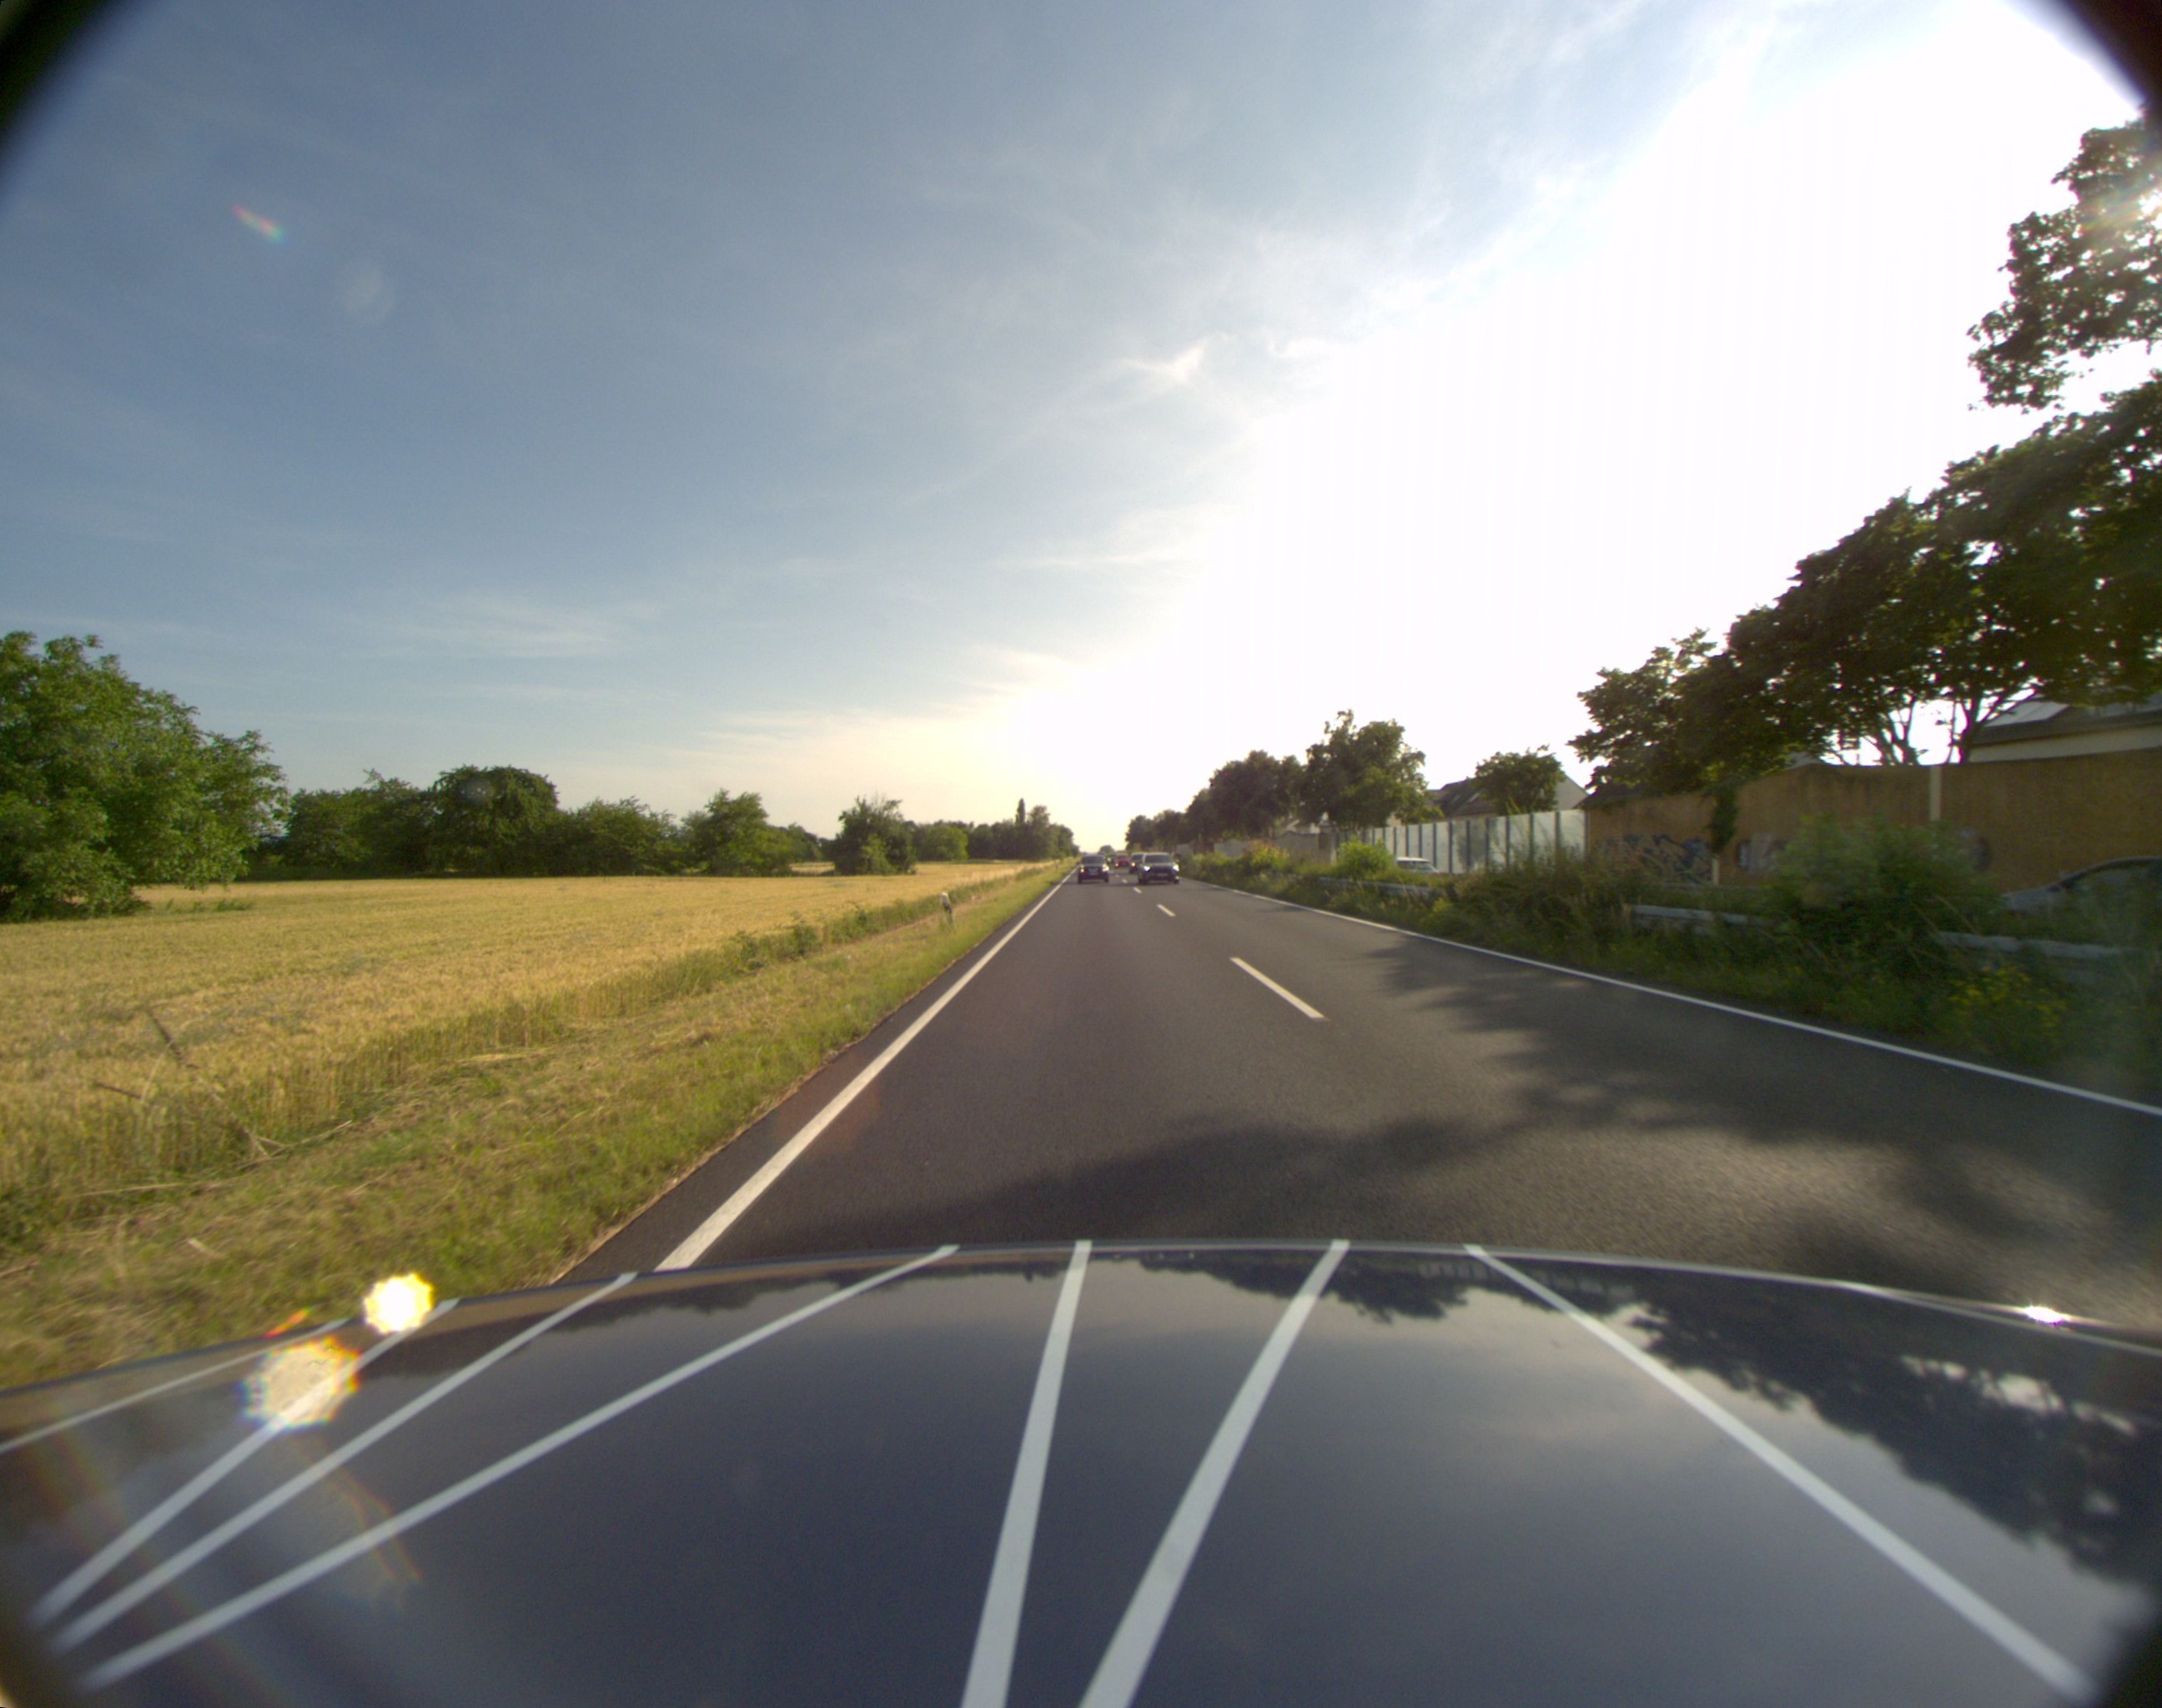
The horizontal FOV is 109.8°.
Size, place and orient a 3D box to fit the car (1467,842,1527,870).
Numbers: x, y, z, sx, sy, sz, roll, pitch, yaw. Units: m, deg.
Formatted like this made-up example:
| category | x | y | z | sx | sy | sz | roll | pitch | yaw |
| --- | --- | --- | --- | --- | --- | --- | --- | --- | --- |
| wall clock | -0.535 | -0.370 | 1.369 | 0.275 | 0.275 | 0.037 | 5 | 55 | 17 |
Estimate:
| category | x | y | z | sx | sy | sz | roll | pitch | yaw |
| --- | --- | --- | --- | --- | --- | --- | --- | --- | --- |
| car | 30.959 | 0.129 | 56.708 | 1.790 | 1.908 | 4.914 | -2 | 1 | 1 |

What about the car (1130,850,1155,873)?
| category | x | y | z | sx | sy | sz | roll | pitch | yaw |
| --- | --- | --- | --- | --- | --- | --- | --- | --- | --- |
| car | 4.984 | 0.553 | 62.028 | 1.822 | 1.724 | 4.000 | -2 | 1 | 2 |

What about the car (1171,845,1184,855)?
| category | x | y | z | sx | sy | sz | roll | pitch | yaw |
| --- | --- | --- | --- | --- | --- | --- | --- | --- | --- |
| car | 17.090 | -0.747 | 134.745 | 1.842 | 1.784 | 4.299 | -2 | 1 | 1 |

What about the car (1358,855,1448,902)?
| category | x | y | z | sx | sy | sz | roll | pitch | yaw |
| --- | --- | --- | --- | --- | --- | --- | --- | --- | --- |
| car | 11.543 | 0.845 | 27.511 | 1.698 | 1.480 | 3.673 | -2 | 1 | 1 |

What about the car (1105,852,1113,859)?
| category | x | y | z | sx | sy | sz | roll | pitch | yaw |
| --- | --- | --- | --- | --- | --- | --- | --- | --- | --- |
| car | 6.263 | 0.262 | 172.835 | 1.693 | 1.397 | 4.000 | -2 | 1 | 1 |

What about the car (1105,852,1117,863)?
| category | x | y | z | sx | sy | sz | roll | pitch | yaw |
| --- | --- | --- | --- | --- | --- | --- | --- | --- | --- |
| car | 4.350 | 0.547 | 110.472 | 1.700 | 1.456 | 3.646 | -2 | 1 | 1 |

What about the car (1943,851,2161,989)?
| category | x | y | z | sx | sy | sz | roll | pitch | yaw |
| --- | --- | --- | --- | --- | --- | --- | --- | --- | --- |
| car | 15.195 | 0.872 | 10.549 | 1.942 | 1.718 | 3.999 | -2 | 1 | 1 |

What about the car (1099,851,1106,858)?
| category | x | y | z | sx | sy | sz | roll | pitch | yaw |
| --- | --- | --- | --- | --- | --- | --- | --- | --- | --- |
| car | 5.529 | 0.058 | 196.922 | 1.854 | 1.641 | 3.999 | -2 | 1 | 1 |

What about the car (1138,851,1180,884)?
| category | x | y | z | sx | sy | sz | roll | pitch | yaw |
| --- | --- | --- | --- | --- | --- | --- | --- | --- | --- |
| car | 4.020 | 0.680 | 39.572 | 1.821 | 1.516 | 4.246 | -2 | 1 | 2 |

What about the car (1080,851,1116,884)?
| category | x | y | z | sx | sy | sz | roll | pitch | yaw |
| --- | --- | --- | --- | --- | --- | --- | --- | --- | --- |
| car | 0.921 | 0.708 | 41.919 | 1.822 | 1.661 | 4.000 | -2 | 1 | 1 |

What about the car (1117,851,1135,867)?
| category | x | y | z | sx | sy | sz | roll | pitch | yaw |
| --- | --- | --- | --- | --- | --- | --- | --- | --- | --- |
| car | 4.953 | 0.521 | 84.541 | 1.822 | 1.661 | 4.000 | -2 | 1 | 1 |
